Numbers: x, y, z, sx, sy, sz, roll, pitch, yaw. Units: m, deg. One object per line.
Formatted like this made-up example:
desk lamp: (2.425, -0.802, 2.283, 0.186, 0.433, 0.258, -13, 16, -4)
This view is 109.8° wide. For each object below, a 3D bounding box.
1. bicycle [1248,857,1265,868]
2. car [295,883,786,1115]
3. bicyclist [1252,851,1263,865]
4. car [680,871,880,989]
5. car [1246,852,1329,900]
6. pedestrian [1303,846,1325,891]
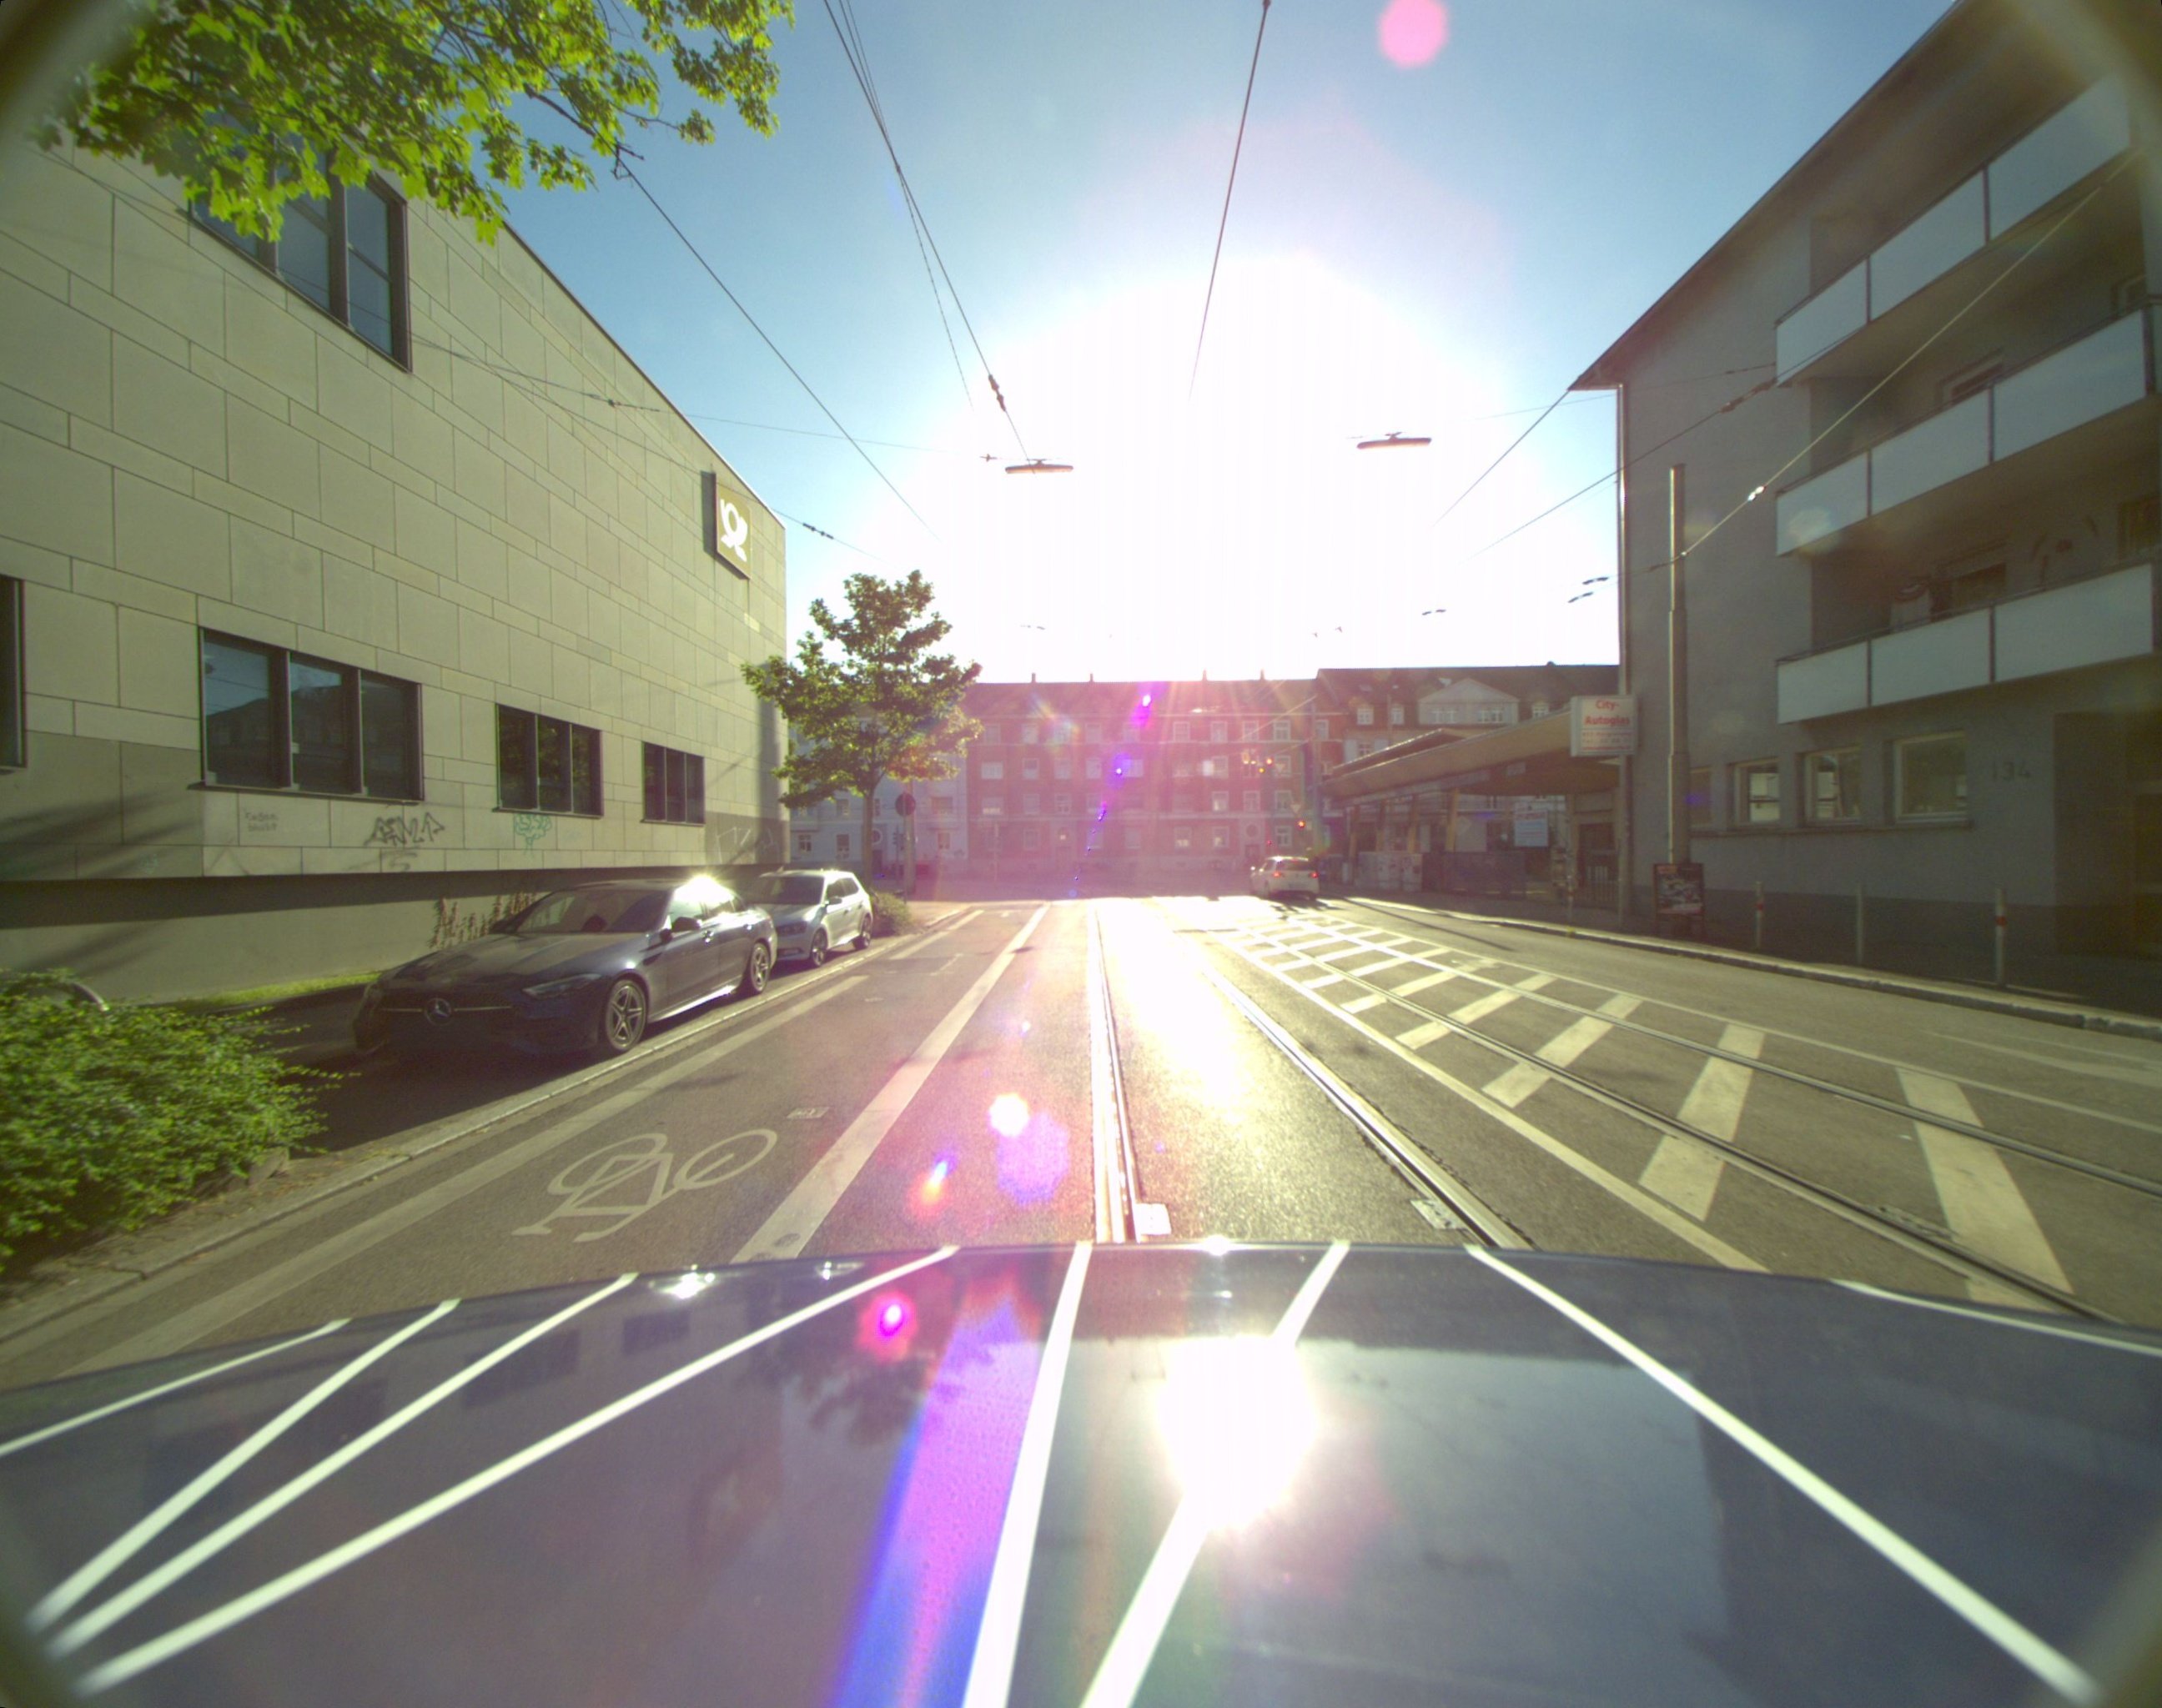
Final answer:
bicycle: (15.016, 0.731, 64.967, 0.554, 0.943, 1.675, -3, 1, -18)
car: (-4.696, 1.110, 7.670, 1.682, 1.399, 4.660, 0, 1, -1)
bicyclist: (15.060, 0.336, 64.793, 0.554, 1.217, 0.667, -3, 1, -18)
car: (-4.791, 1.122, 12.766, 1.654, 1.471, 4.000, -2, 1, 1)
car: (7.331, 0.725, 27.413, 1.923, 1.516, 4.000, -2, 1, 1)
pedestrian: (9.405, 0.573, 30.687, 0.640, 1.764, 0.583, -2, 1, 1)
